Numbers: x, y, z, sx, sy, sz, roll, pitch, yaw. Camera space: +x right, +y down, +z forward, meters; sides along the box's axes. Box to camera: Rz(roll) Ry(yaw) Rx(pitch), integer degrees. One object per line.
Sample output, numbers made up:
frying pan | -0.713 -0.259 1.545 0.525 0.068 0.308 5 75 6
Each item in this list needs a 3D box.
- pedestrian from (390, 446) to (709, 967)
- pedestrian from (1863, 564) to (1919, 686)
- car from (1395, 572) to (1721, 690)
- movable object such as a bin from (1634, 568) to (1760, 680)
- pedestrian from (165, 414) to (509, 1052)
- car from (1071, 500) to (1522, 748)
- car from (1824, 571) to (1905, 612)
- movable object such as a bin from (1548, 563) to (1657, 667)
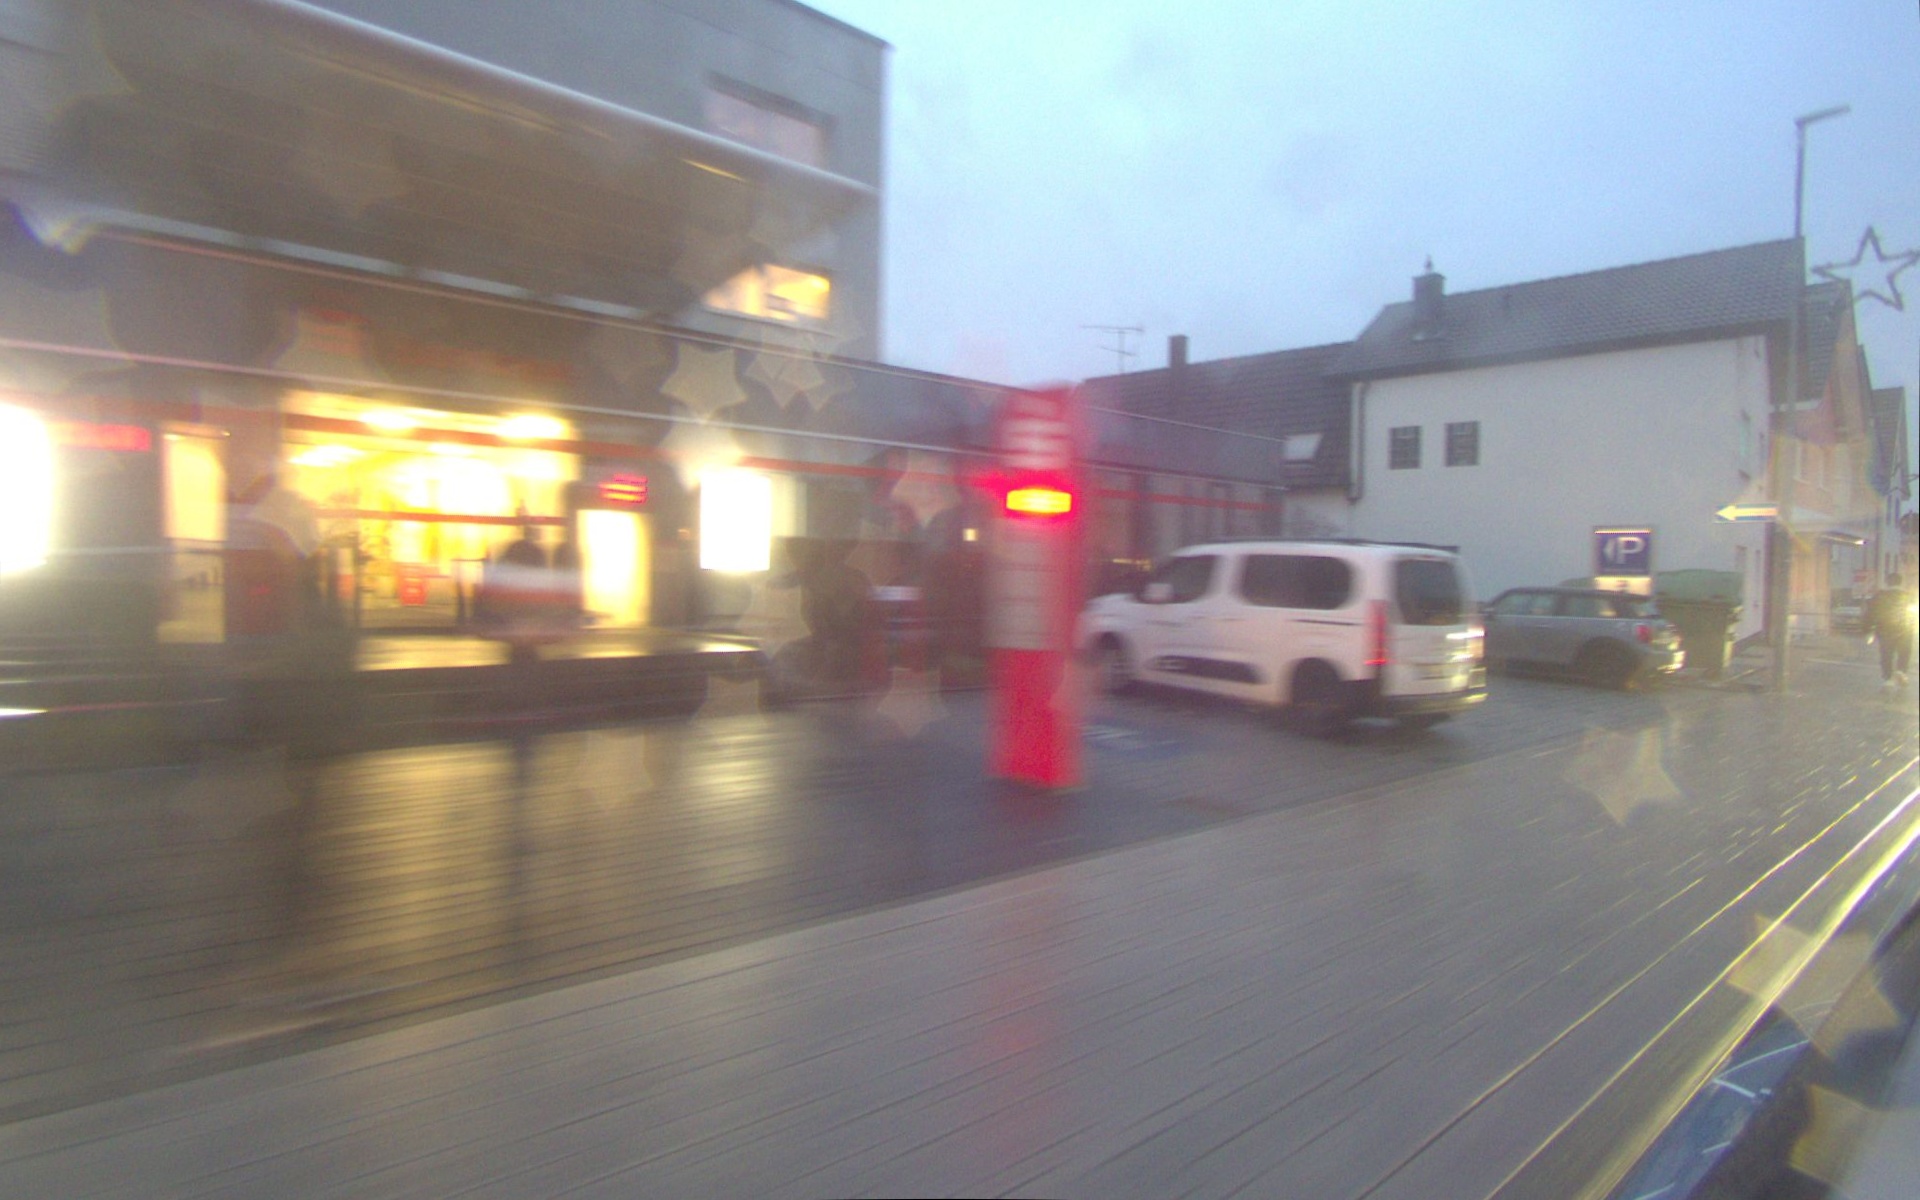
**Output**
pedestrian | -1.576 0.334 3.907 0.703 1.726 0.901 4 3 43
pedestrian | 15.182 0.384 16.252 0.989 1.913 0.967 0 0 -45
car | 9.245 0.371 15.923 1.878 1.504 3.997 -1 3 -39
movable object such as a bin | 12.021 0.351 16.512 1.241 1.664 1.394 1 3 -45
pedestrian | -1.990 0.346 3.298 0.828 1.726 0.840 1 2 -31
car | 3.290 0.080 10.702 1.961 2.074 4.108 1 3 -34
car | 36.249 -0.378 40.504 4.616 1.504 1.933 -2 2 -42
movable object such as a bin | 11.137 0.232 17.551 1.166 1.664 1.287 1 4 -45
